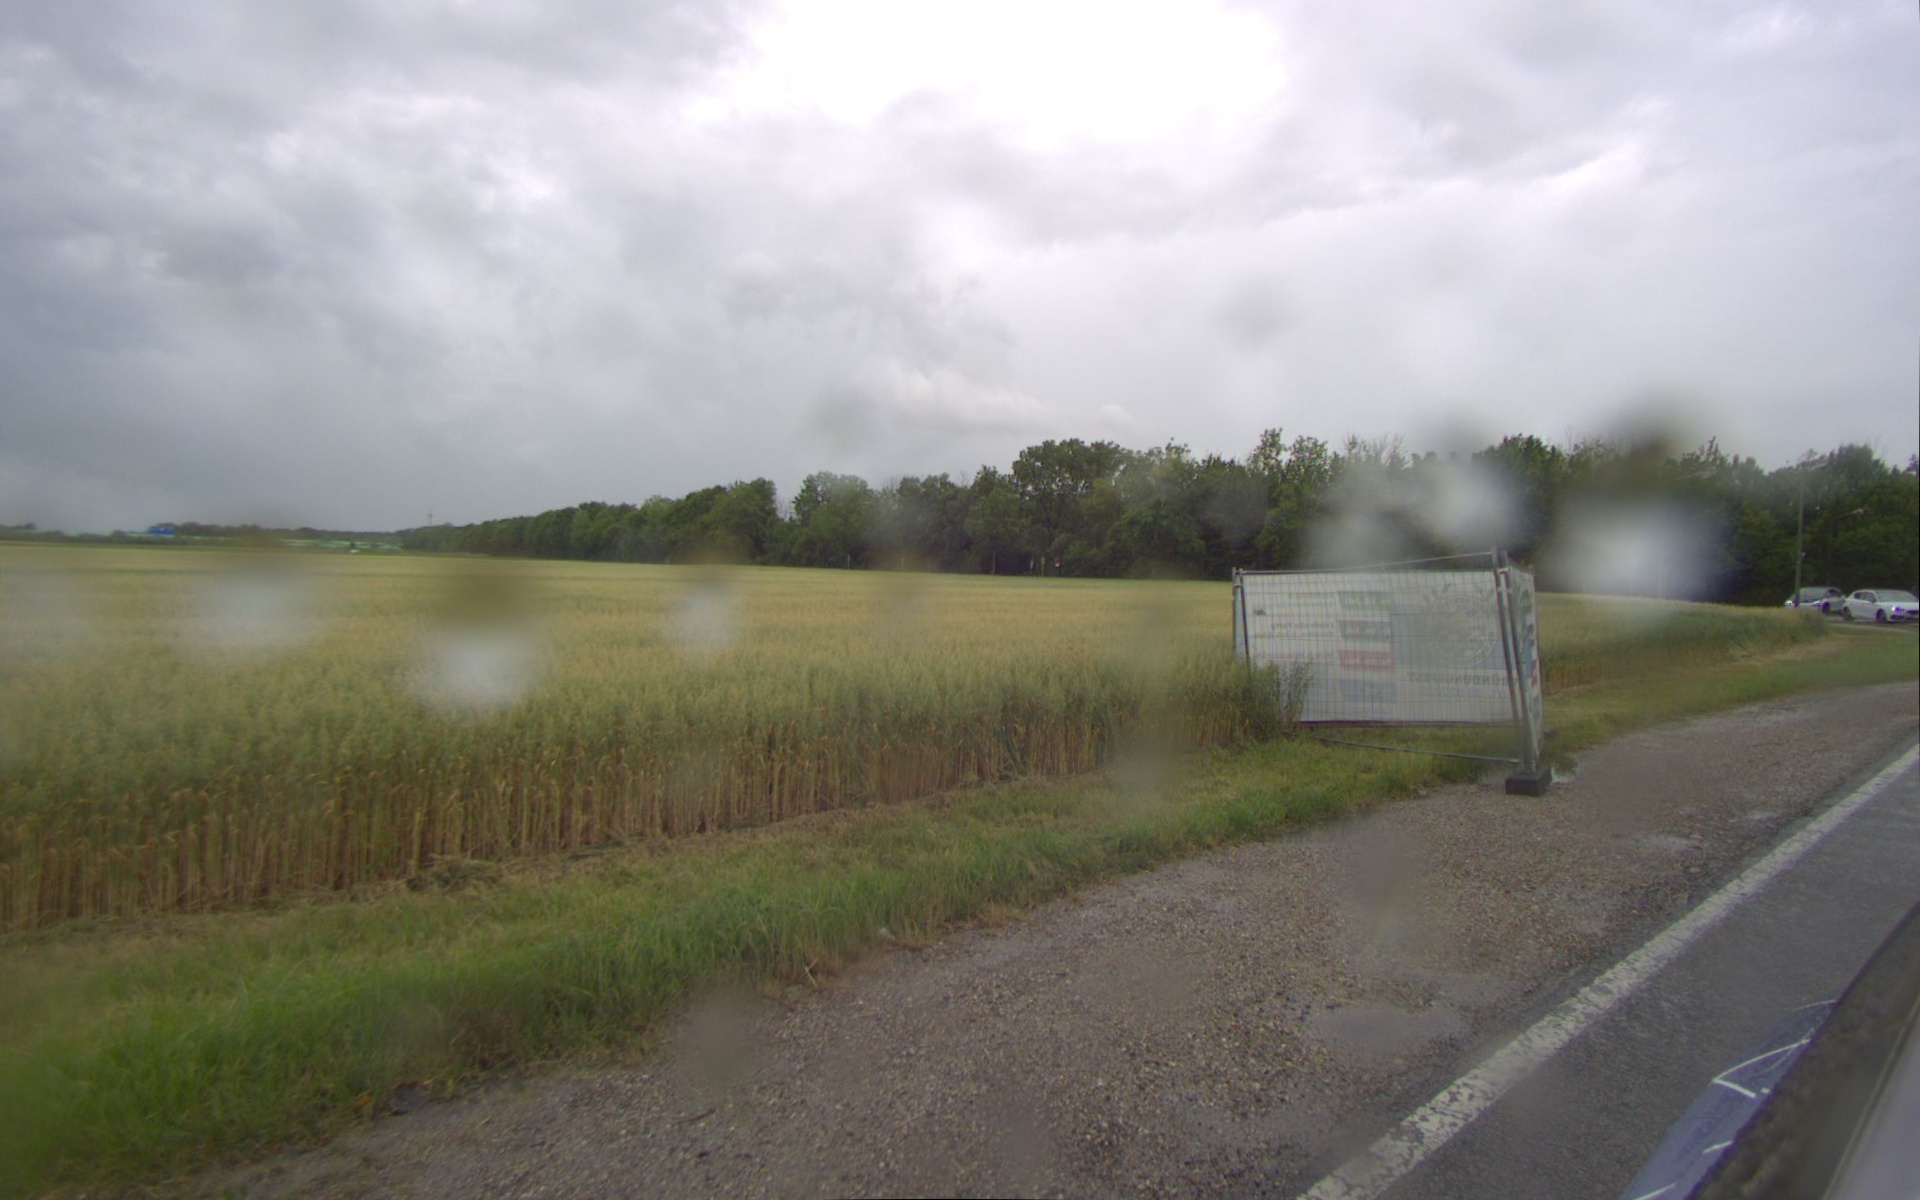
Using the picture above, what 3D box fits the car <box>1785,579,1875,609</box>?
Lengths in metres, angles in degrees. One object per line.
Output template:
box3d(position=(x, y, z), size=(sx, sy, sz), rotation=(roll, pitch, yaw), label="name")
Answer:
box3d(position=(46.437, -0.312, 54.035), size=(4.408, 1.550, 1.897), rotation=(0, 1, -24), label="car")

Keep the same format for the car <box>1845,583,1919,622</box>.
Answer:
box3d(position=(39.233, 0.092, 42.220), size=(1.868, 1.550, 4.475), rotation=(1, 1, 18), label="car")
